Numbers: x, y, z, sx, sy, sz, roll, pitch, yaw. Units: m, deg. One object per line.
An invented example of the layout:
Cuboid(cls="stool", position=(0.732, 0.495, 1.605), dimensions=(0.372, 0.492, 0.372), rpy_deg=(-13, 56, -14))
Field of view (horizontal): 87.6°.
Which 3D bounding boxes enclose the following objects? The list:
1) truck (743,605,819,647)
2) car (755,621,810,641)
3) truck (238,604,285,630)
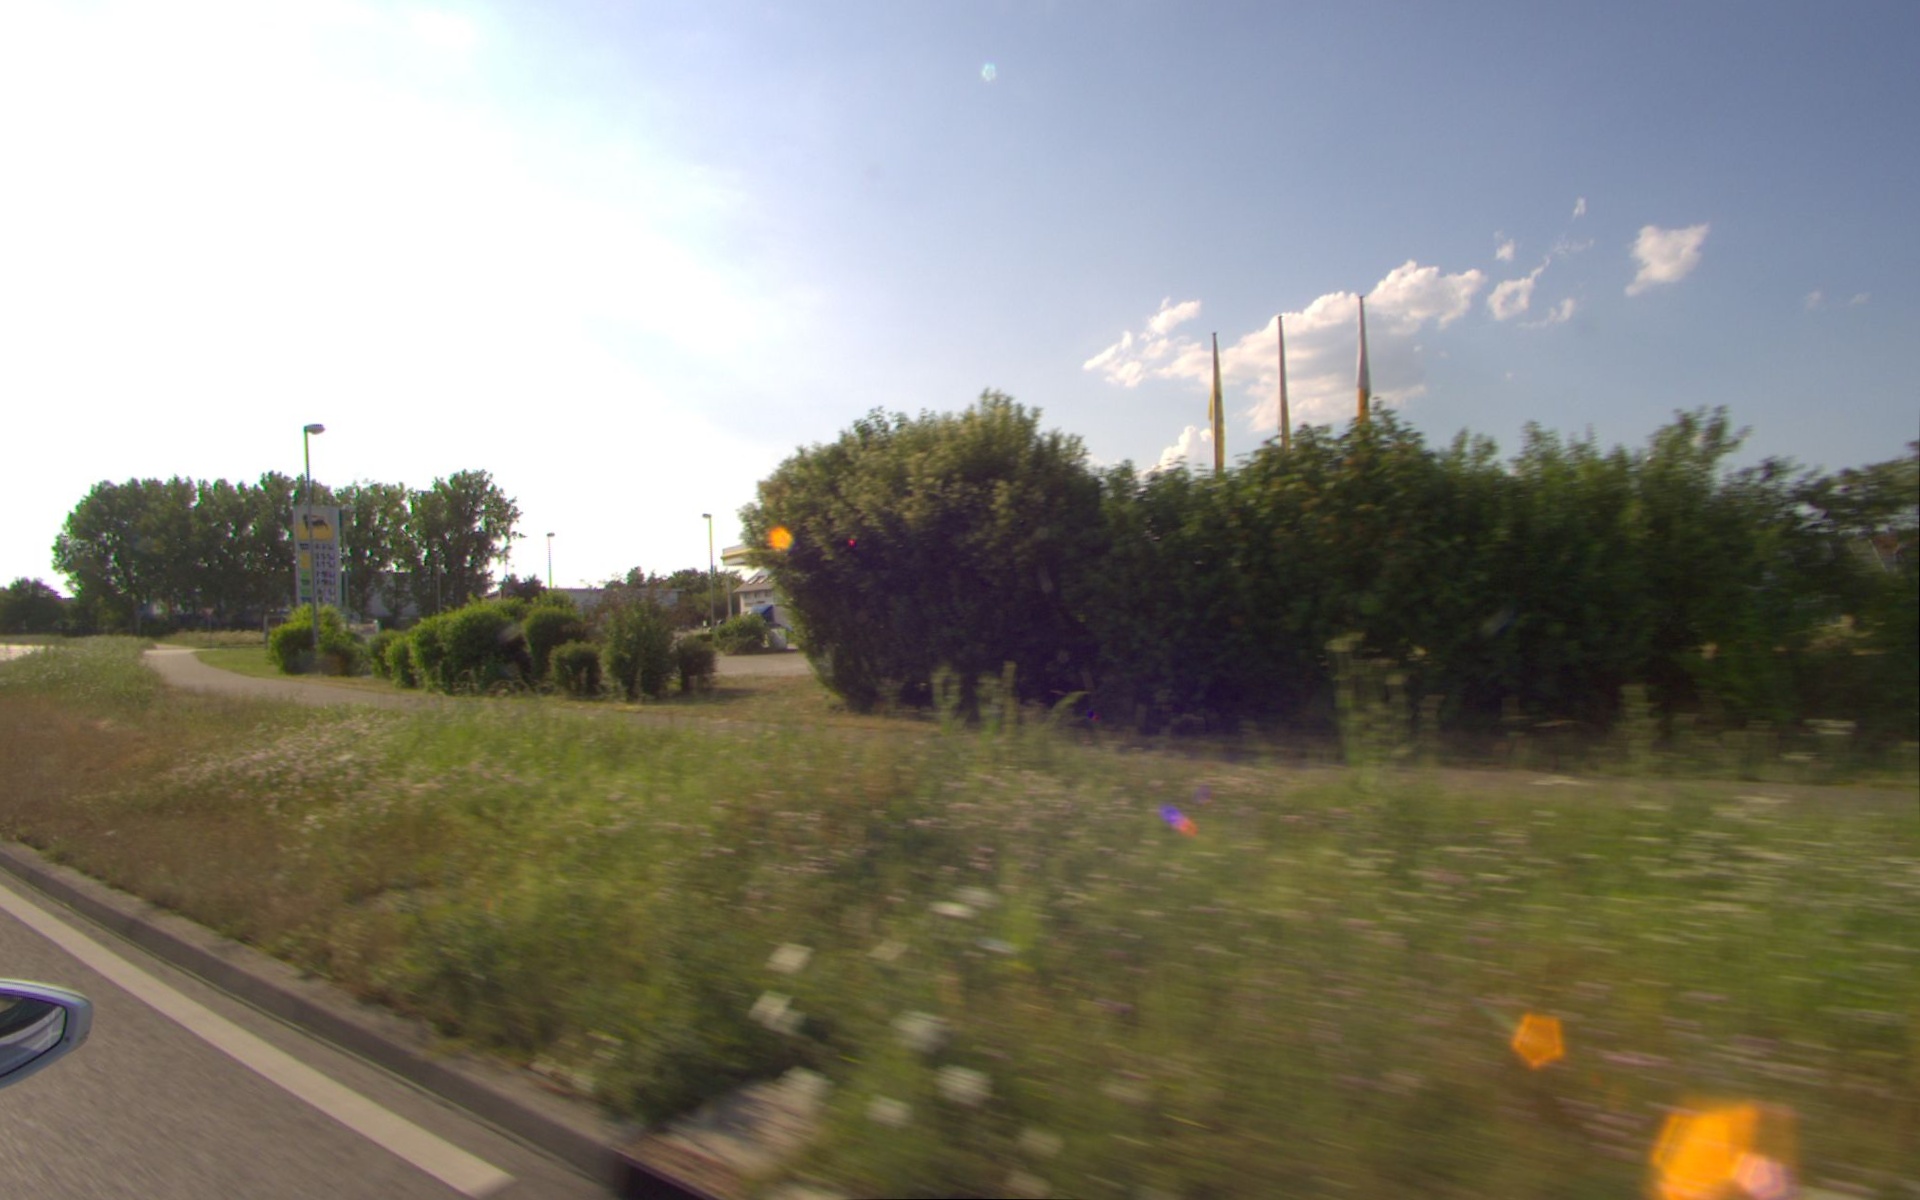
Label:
Cuboid(cls="truck", position=(-16.632, 2.517, 93.874), dimensions=(2.724, 3.734, 7.985), rpy_deg=(-1, -3, 27))
Cuboid(cls="car", position=(-15.381, 2.730, 86.652), dimensions=(4.344, 1.655, 1.848), rpy_deg=(-1, -3, 19))
Cuboid(cls="truck", position=(-94.083, 2.326, 134.843), dimensions=(5.617, 3.200, 2.622), rpy_deg=(-3, -3, 24))
